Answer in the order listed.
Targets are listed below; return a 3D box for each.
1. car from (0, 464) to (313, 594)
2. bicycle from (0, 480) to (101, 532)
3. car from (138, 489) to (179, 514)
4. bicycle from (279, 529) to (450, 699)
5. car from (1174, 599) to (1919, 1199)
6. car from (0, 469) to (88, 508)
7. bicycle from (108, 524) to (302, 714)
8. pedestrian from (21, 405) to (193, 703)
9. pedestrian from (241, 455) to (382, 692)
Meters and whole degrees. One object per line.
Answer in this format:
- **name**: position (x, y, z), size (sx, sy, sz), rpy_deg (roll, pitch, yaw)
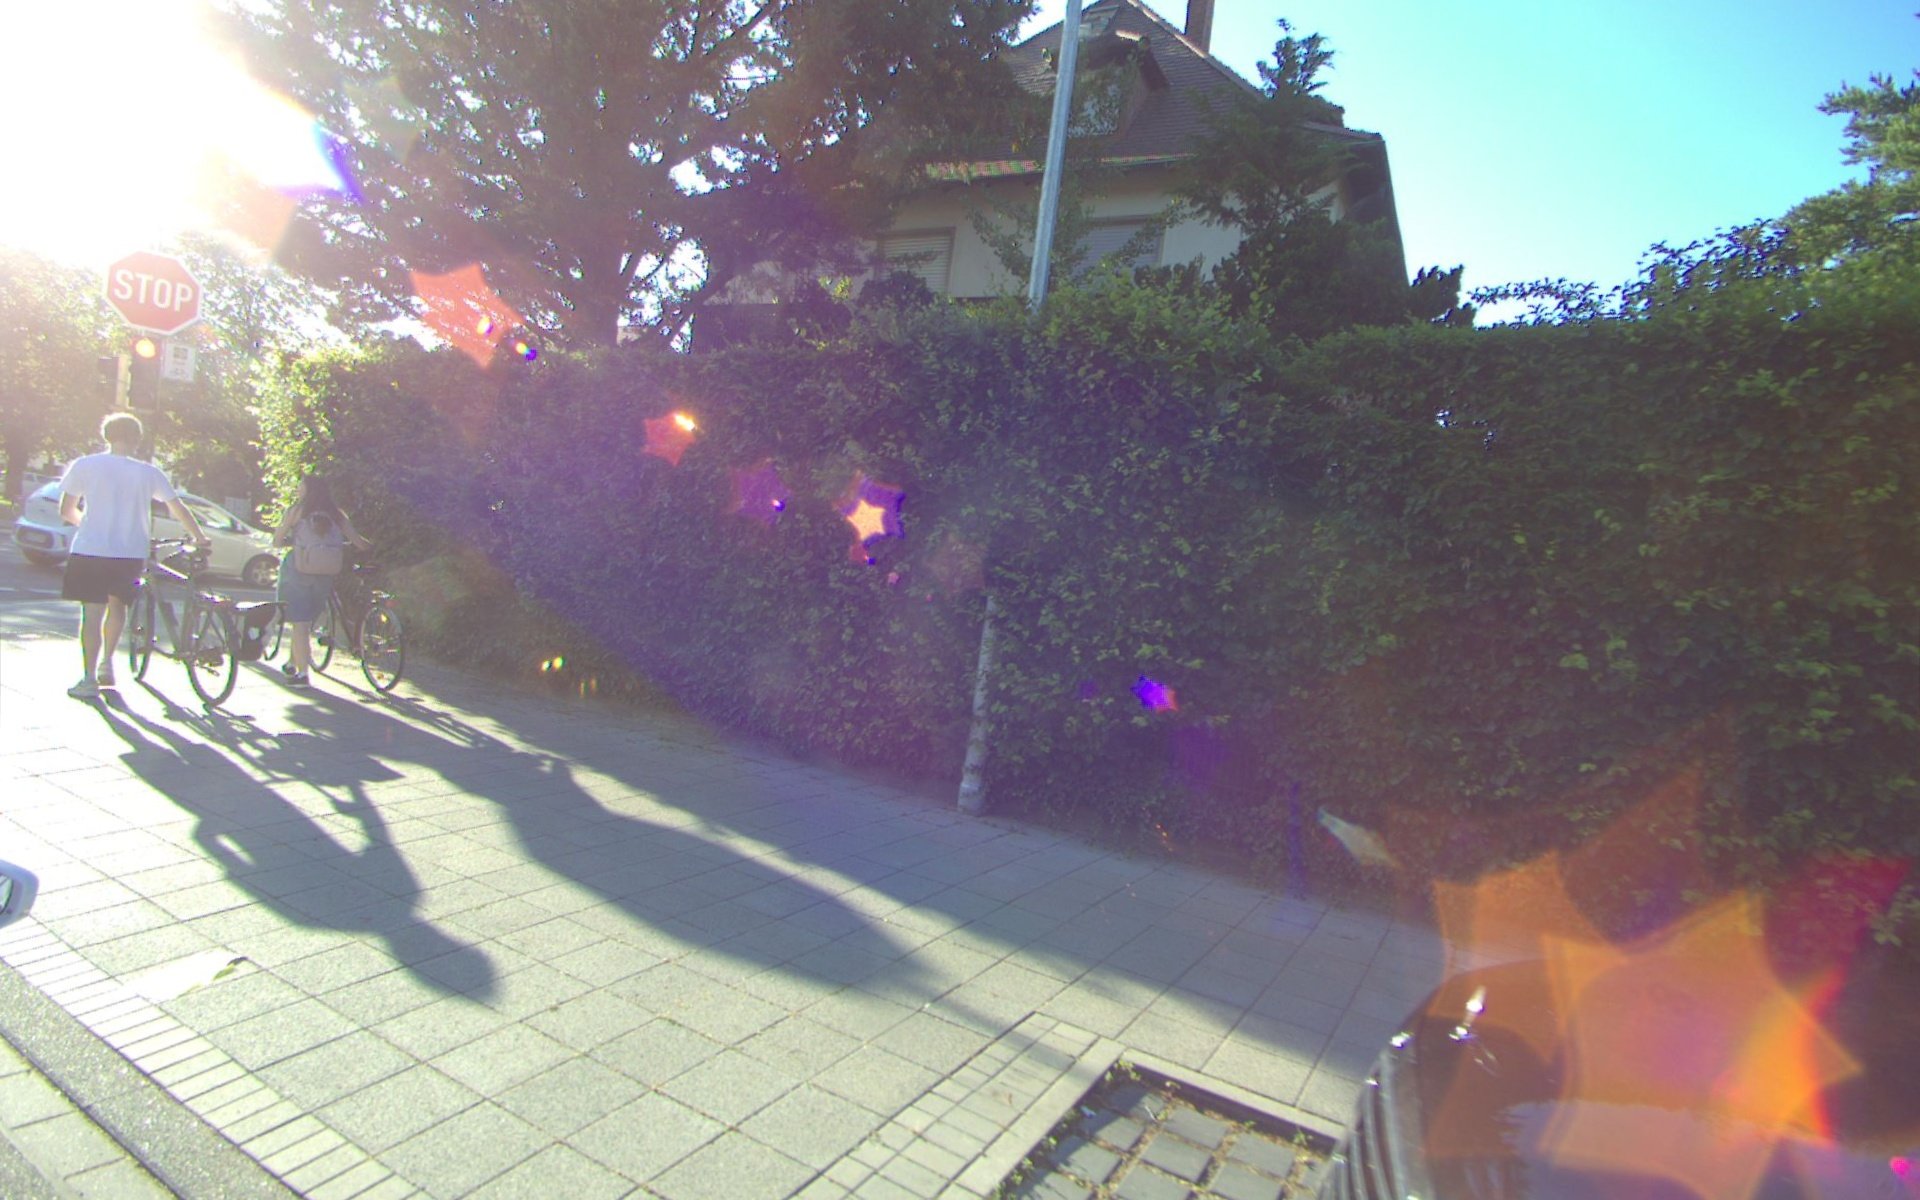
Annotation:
- **car**: position (-13.105, -1.072, 16.582), size (1.709, 1.506, 3.698), rpy_deg (9, 0, 20)
- **bicycle**: position (-25.306, -2.602, 28.018), size (0.609, 1.146, 1.955), rpy_deg (8, 1, 33)
- **car**: position (-57.096, -7.006, 71.696), size (1.651, 1.435, 3.515), rpy_deg (7, 0, -30)
- **bicycle**: position (-4.875, 0.086, 8.197), size (1.571, 1.158, 0.487), rpy_deg (8, 4, 32)
- **car**: position (2.707, 1.105, 0.665), size (4.789, 1.561, 1.862), rpy_deg (8, 1, 29)
- **car**: position (-48.271, -5.861, 52.458), size (1.569, 1.444, 3.854), rpy_deg (8, 0, 26)
- **bicycle**: position (-5.466, 0.099, 7.248), size (1.761, 1.112, 0.487), rpy_deg (8, 4, 32)
- **pedestrian**: position (-5.863, -0.327, 6.907), size (0.867, 1.891, 0.669), rpy_deg (9, 5, 35)
- **pedestrian**: position (-5.059, -0.209, 7.853), size (0.612, 1.732, 0.669), rpy_deg (8, 5, 30)
